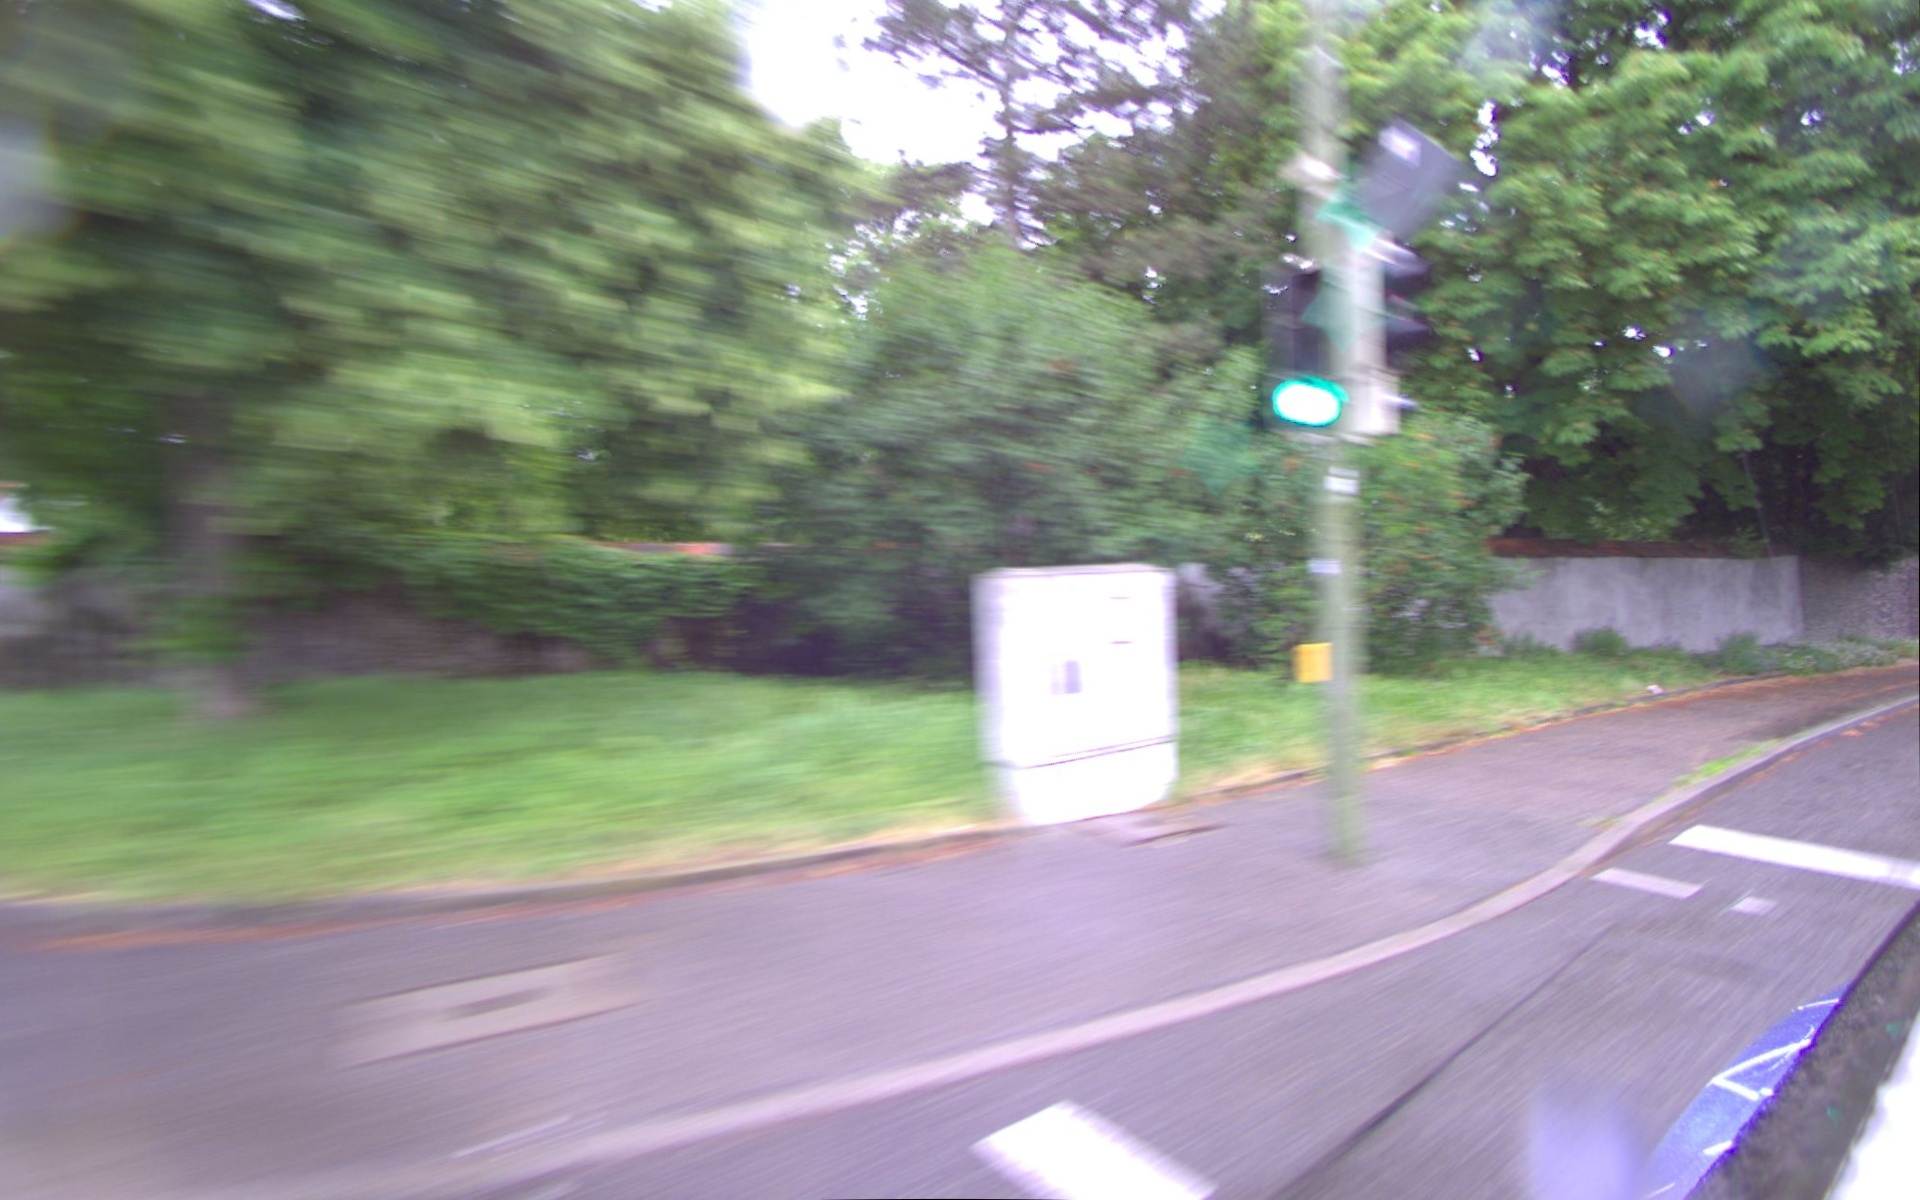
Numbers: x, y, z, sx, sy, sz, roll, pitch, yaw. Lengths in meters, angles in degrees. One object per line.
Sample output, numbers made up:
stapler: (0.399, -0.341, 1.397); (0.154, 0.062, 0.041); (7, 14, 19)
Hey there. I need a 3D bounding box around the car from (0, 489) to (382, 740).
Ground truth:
car: (-5.972, 0.016, 7.940); (1.815, 1.473, 4.009); (0, 2, -20)
